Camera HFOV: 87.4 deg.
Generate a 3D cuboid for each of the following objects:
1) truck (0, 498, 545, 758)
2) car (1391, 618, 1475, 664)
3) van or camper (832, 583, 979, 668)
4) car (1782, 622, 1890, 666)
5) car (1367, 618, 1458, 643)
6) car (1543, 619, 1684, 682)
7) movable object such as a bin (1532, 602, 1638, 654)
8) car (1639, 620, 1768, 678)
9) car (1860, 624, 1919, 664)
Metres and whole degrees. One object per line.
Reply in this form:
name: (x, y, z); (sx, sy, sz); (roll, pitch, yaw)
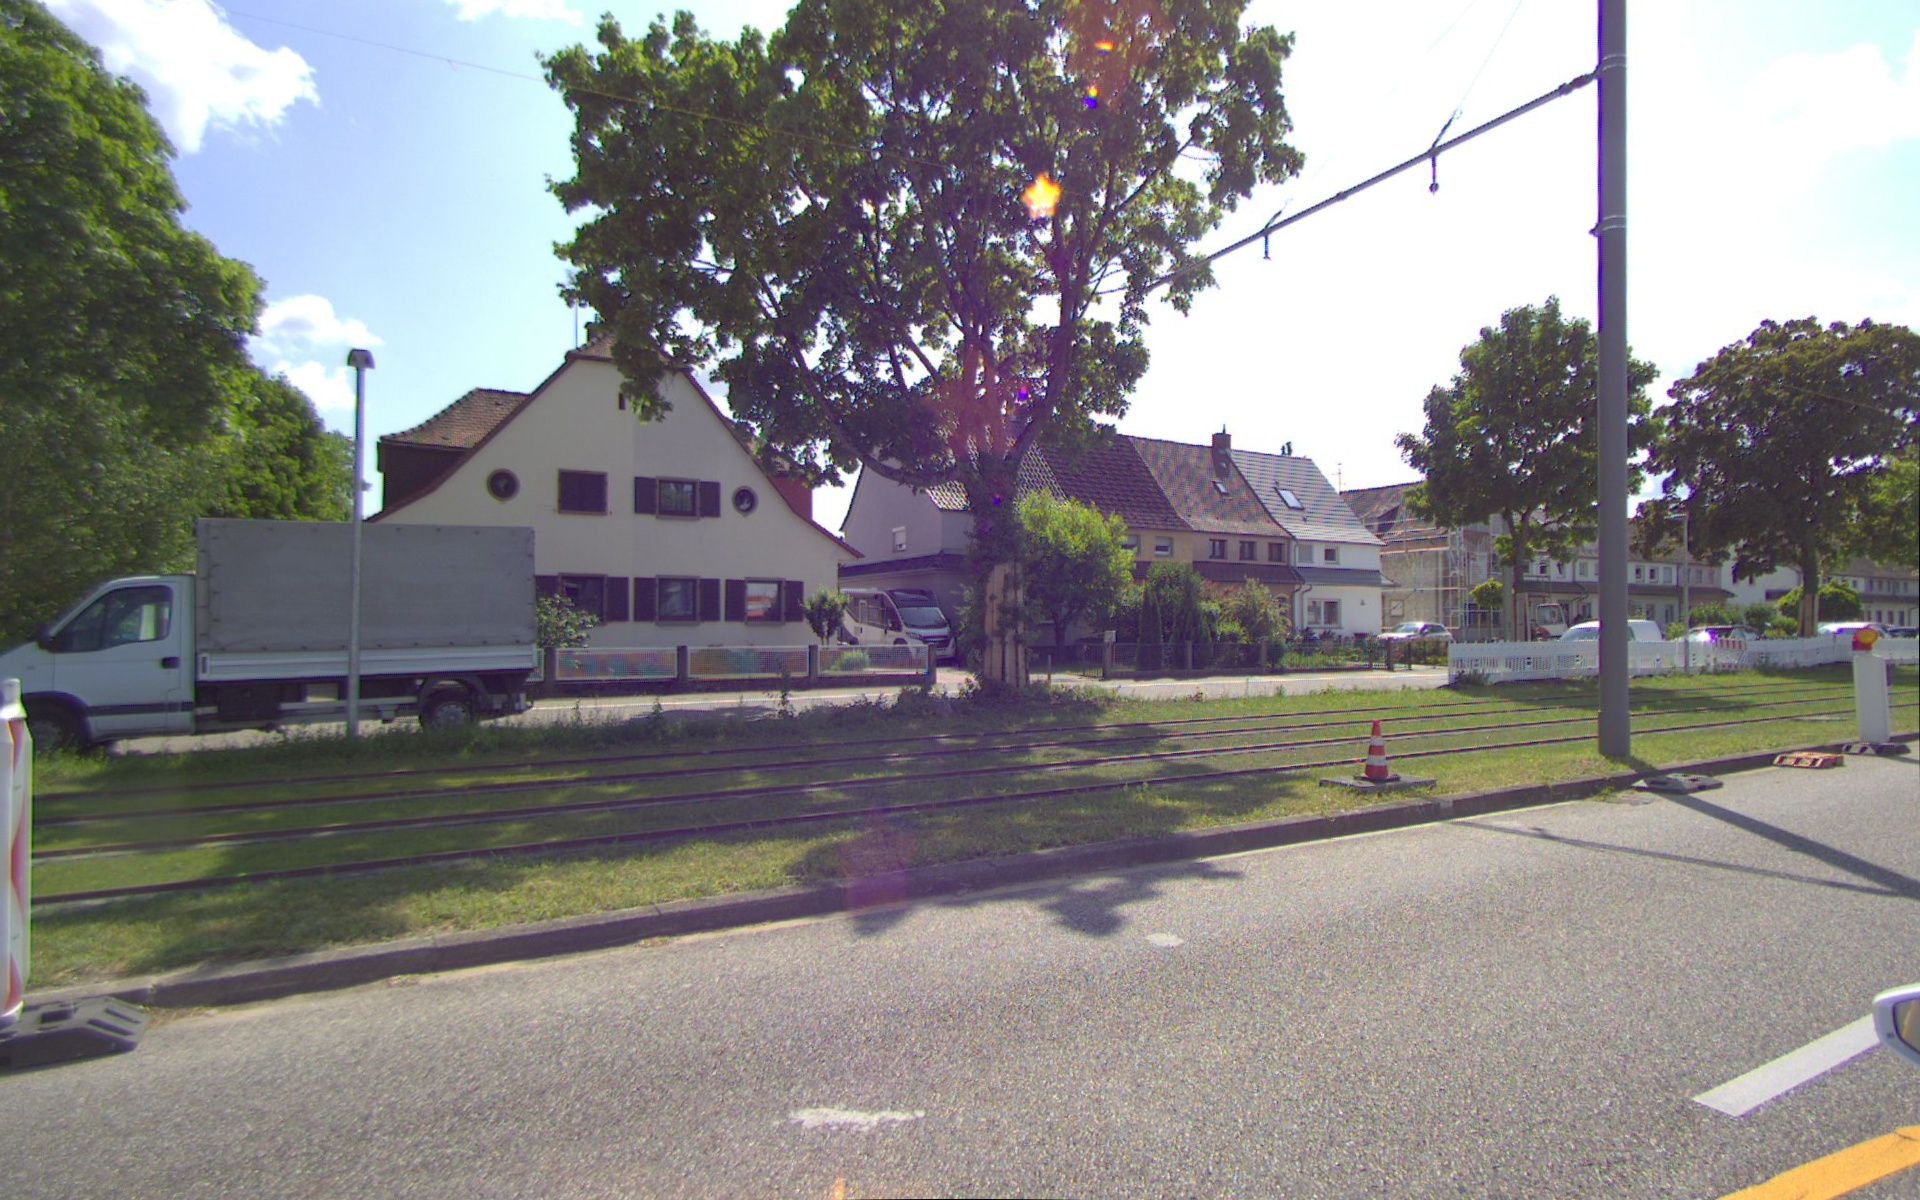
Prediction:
truck: (-8.797, 0.390, 12.905); (6.203, 2.803, 1.985); (0, -4, -31)
car: (18.945, 1.646, 40.224); (2.995, 1.744, 1.677); (2, -3, -30)
van or camper: (-2.131, 0.849, 36.729); (2.672, 2.675, 6.055); (1, 2, -33)
car: (33.848, 1.706, 38.824); (3.953, 1.627, 1.984); (2, -3, -30)
car: (20.144, 1.393, 44.716); (3.931, 1.066, 1.678); (2, -3, -29)
car: (19.643, 1.501, 30.190); (3.953, 1.773, 1.984); (2, -3, -30)
movable object such as a bin: (30.964, 1.388, 49.851); (4.283, 2.482, 1.781); (-1, -2, 39)
car: (24.317, 1.603, 32.838); (3.953, 1.773, 1.984); (2, -3, -30)
car: (40.342, 1.892, 42.685); (3.953, 1.627, 1.984); (2, -3, -30)
